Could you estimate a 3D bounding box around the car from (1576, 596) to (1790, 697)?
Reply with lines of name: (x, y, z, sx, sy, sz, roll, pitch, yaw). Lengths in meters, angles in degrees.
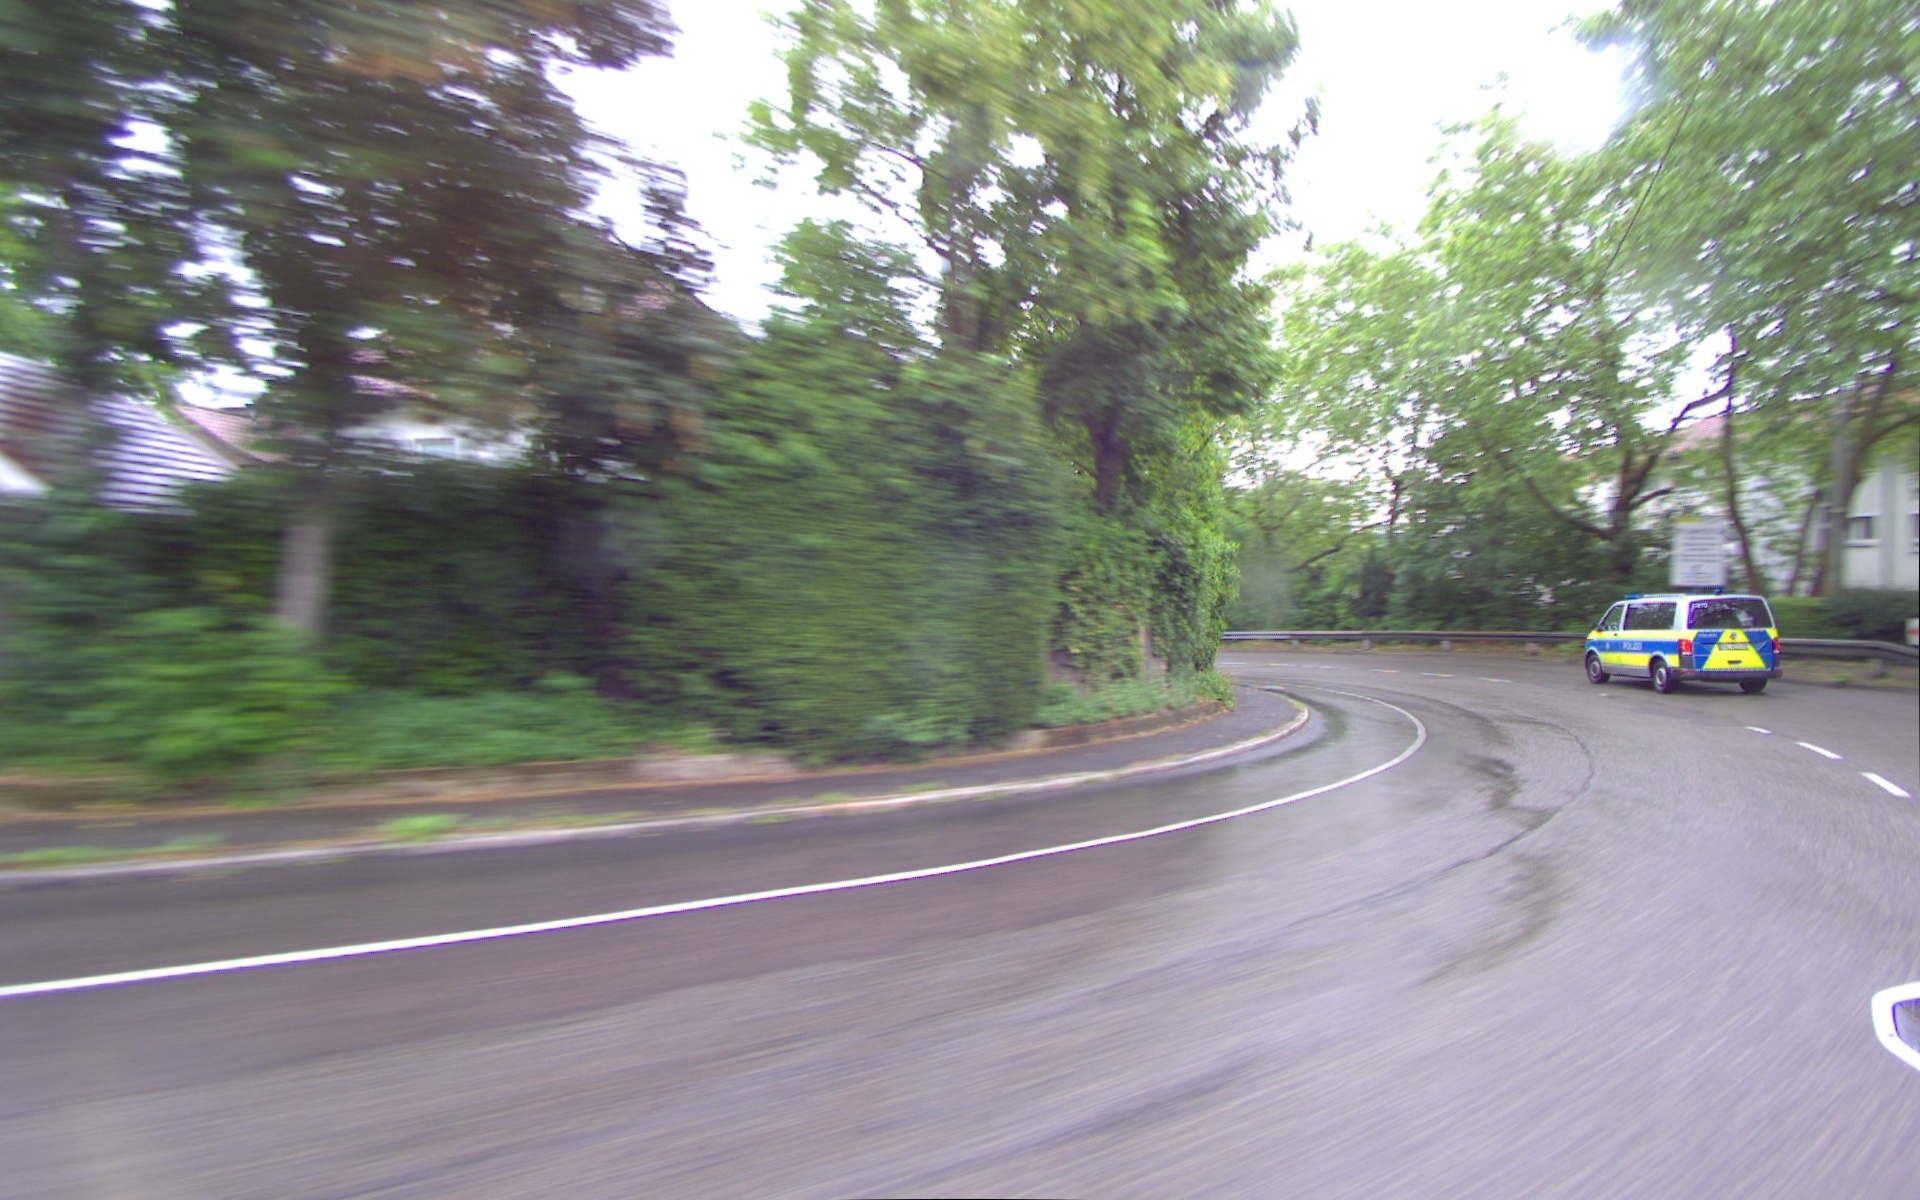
car: (15.376, 0.958, 21.724, 1.960, 1.918, 4.573, -2, -2, 11)
